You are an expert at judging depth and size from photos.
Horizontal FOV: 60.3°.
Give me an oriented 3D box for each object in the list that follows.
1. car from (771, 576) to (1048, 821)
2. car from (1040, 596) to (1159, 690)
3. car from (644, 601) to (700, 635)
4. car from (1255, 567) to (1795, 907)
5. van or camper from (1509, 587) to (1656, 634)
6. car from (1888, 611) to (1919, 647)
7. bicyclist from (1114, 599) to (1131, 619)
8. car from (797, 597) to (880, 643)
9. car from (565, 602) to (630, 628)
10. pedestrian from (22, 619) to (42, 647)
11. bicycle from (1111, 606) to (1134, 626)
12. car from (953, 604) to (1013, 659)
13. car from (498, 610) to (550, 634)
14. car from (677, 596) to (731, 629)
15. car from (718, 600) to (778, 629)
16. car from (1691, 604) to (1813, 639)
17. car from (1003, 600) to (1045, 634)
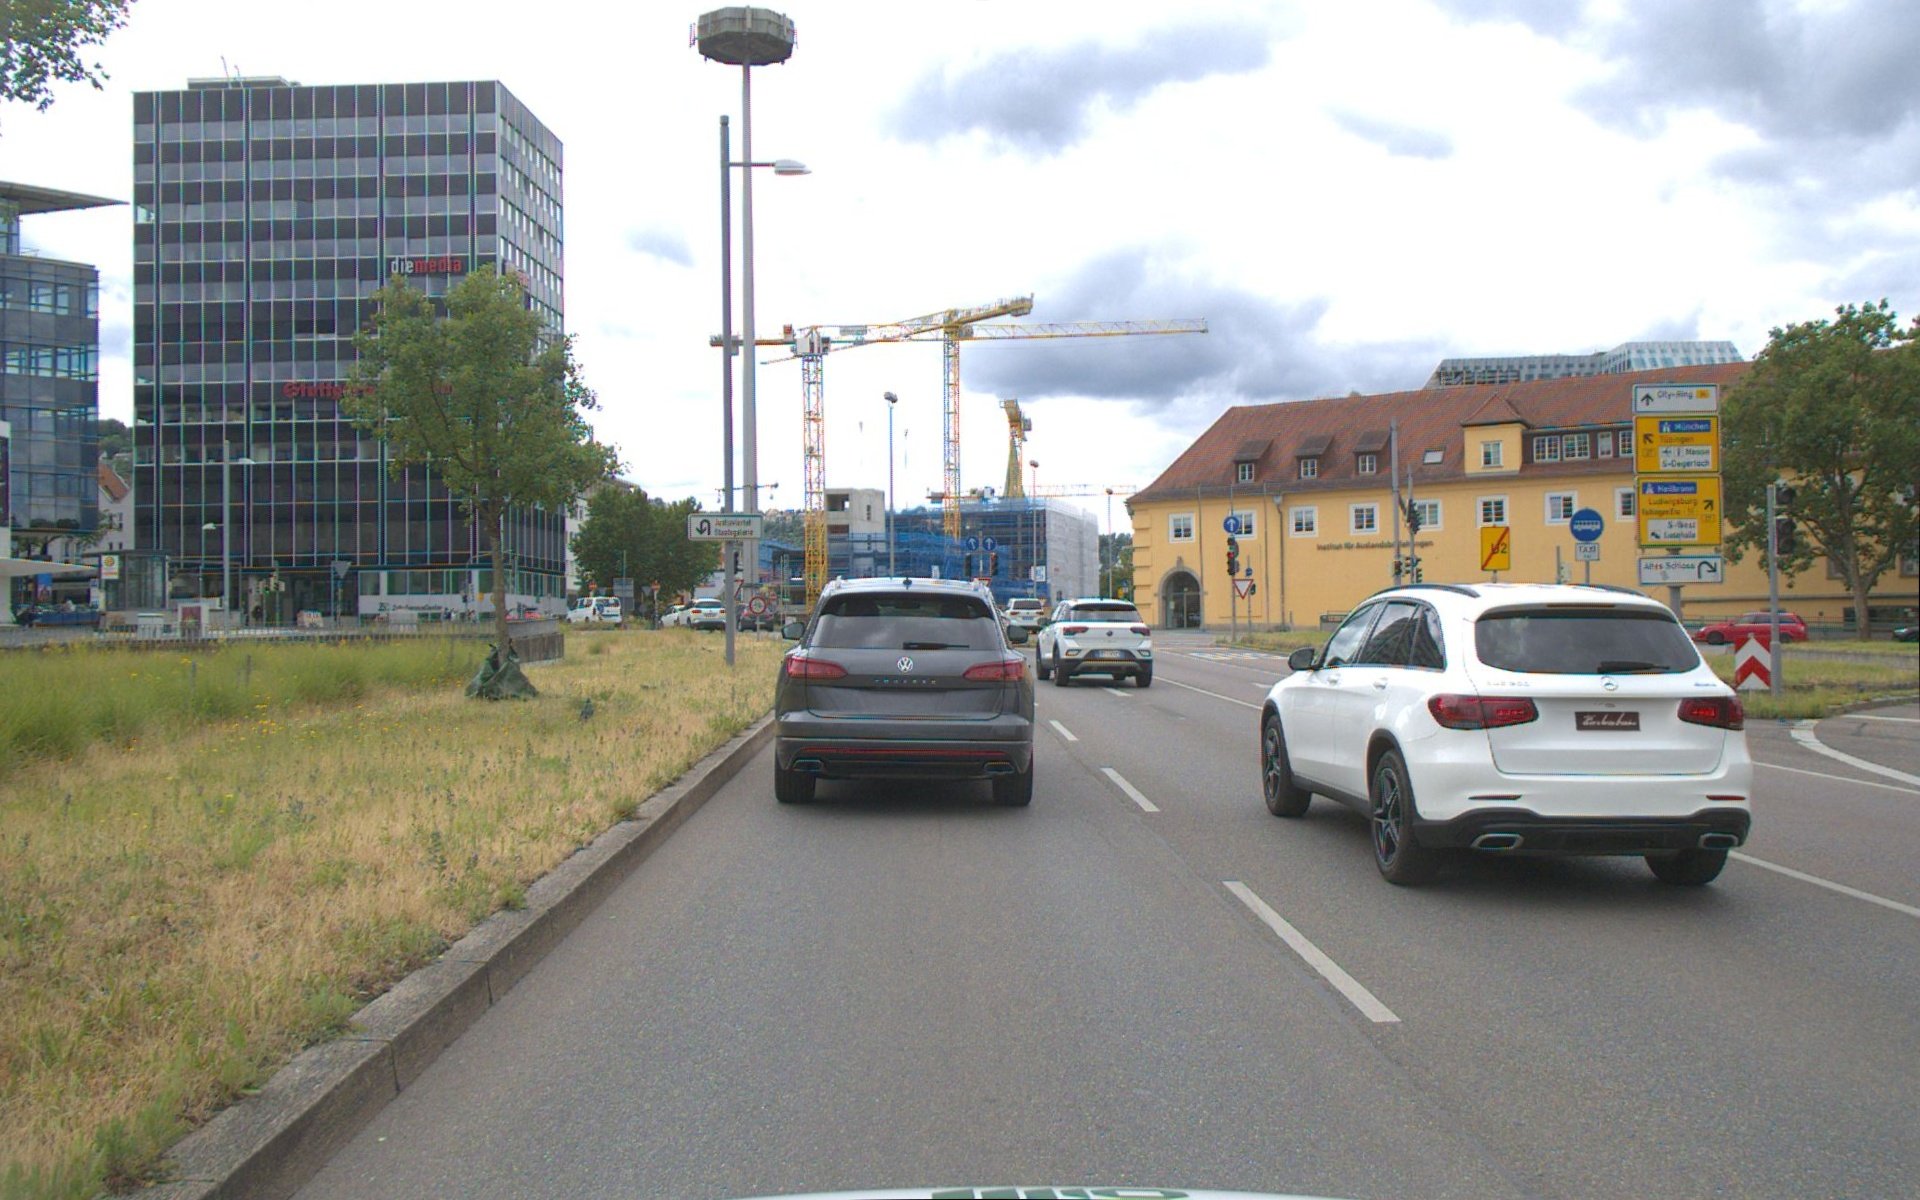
[{"bbox_3d":[-0.389,0.665,13.355,1.894,1.676,3.999,0,0,-1],"label":"car"},{"bbox_3d":[2.545,0.752,30.995,1.855,1.613,3.800,0,0,-1],"label":"car"},{"bbox_3d":[-17.337,1.059,99.569,1.878,1.638,3.954,-2,5,-34],"label":"car"},{"bbox_3d":[3.203,0.664,10.401,1.782,1.676,4.377,0,0,-2],"label":"car"},{"bbox_3d":[27.933,0.479,74.298,5.901,2.049,2.013,0,0,35],"label":"van or camper"},{"bbox_3d":[39.820,1.171,66.862,4.001,1.438,1.656,0,0,31],"label":"car"},{"bbox_3d":[9.743,0.541,99.376,0.905,1.179,0.724,1,0,-6],"label":"bicyclist"},{"bbox_3d":[-3.856,0.603,51.879,1.764,1.380,4.051,0,0,-17],"label":"car"},{"bbox_3d":[-21.931,0.887,99.979,2.228,1.529,4.550,0,0,-37],"label":"car"},{"bbox_3d":[-37.443,1.335,66.737,0.465,1.100,0.560,1,0,0],"label":"pedestrian"},{"bbox_3d":[9.739,0.977,99.379,0.905,1.179,2.462,1,0,-6],"label":"bicycle"},{"bbox_3d":[0.654,0.894,48.965,1.683,1.529,4.143,0,0,0],"label":"car"},{"bbox_3d":[-28.585,1.424,108.418,1.710,1.529,3.920,0,0,-42],"label":"car"},{"bbox_3d":[-12.301,0.582,79.313,1.788,1.522,3.882,0,0,-21],"label":"car"},{"bbox_3d":[-10.960,0.737,85.392,1.626,1.421,3.553,0,0,-35],"label":"car"},{"bbox_3d":[33.736,0.891,70.477,4.591,1.445,1.593,0,0,31],"label":"car"},{"bbox_3d":[3.012,0.793,78.278,1.766,1.529,3.980,0,0,-1],"label":"car"}]
